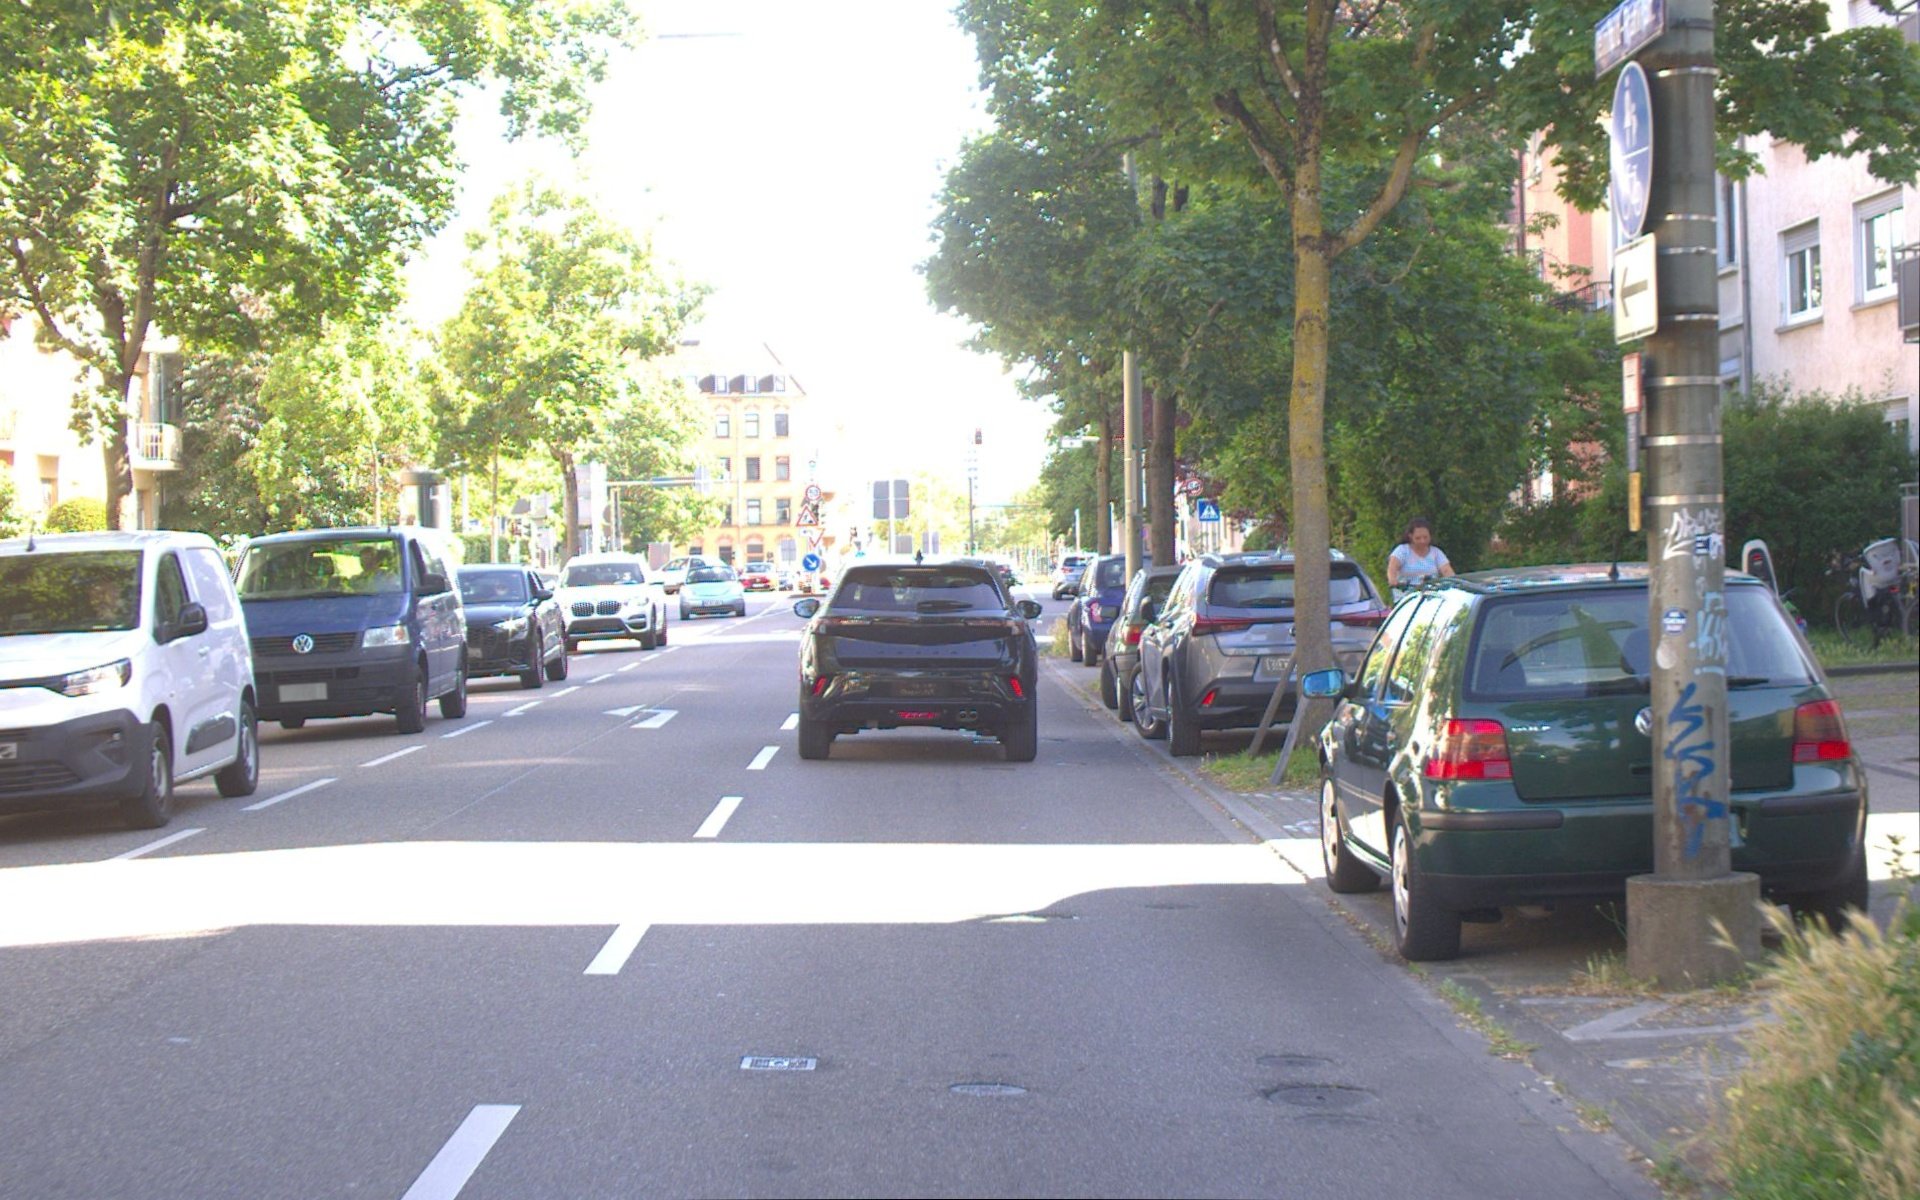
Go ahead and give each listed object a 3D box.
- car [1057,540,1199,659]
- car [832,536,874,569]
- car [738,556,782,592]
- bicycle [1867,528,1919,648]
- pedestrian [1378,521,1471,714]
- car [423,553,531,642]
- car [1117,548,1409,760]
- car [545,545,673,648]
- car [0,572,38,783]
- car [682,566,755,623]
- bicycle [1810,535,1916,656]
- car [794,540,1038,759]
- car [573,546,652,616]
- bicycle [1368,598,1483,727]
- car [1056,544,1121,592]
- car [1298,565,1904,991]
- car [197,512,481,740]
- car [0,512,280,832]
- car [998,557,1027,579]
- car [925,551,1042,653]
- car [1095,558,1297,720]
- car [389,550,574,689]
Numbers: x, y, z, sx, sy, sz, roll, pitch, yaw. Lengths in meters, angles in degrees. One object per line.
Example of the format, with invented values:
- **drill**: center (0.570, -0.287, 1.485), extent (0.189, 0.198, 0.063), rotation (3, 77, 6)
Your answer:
- **car**: center (2.303, -0.036, 47.940), extent (1.559, 1.510, 3.655), rotation (-3, 1, -2)
- **car**: center (-4.862, -2.162, 156.744), extent (1.771, 1.447, 3.885), rotation (-1, 1, 0)
- **car**: center (-9.311, -1.241, 160.361), extent (1.791, 1.611, 4.000), rotation (-1, 1, 0)
- **bicycle**: center (10.744, -0.149, 38.586), extent (0.591, 1.283, 1.689), rotation (-4, 1, 0)
- **pedestrian**: center (4.141, 0.151, 30.668), extent (0.669, 1.676, 0.776), rotation (-2, 1, -1)
- **car**: center (-8.758, -0.061, 62.542), extent (1.675, 1.520, 3.659), rotation (1, 1, -4)
- **car**: center (2.283, 0.360, 26.905), extent (1.714, 1.484, 4.235), rotation (-2, 1, -2)
- **car**: center (-6.144, -0.096, 60.648), extent (1.806, 1.642, 4.673), rotation (-3, 1, -1)
- **car**: center (-8.100, 0.598, 25.003), extent (1.722, 1.591, 4.136), rotation (0, 1, -1)
- **car**: center (-6.489, -0.164, 92.525), extent (1.737, 1.377, 3.937), rotation (-3, 1, -1)
- **bicycle**: center (10.119, -0.062, 38.574), extent (0.623, 1.283, 1.842), rotation (-4, 1, 0)
- **car**: center (-0.341, 0.339, 26.542), extent (1.745, 1.568, 3.558), rotation (0, 1, -1)
- **car**: center (-9.371, -0.532, 92.993), extent (1.818, 1.827, 4.563), rotation (-1, 1, -2)
- **bicycle**: center (4.149, 0.540, 30.775), extent (0.682, 1.066, 2.127), rotation (-2, 1, -1)
- **car**: center (3.959, -1.005, 106.719), extent (1.830, 1.447, 3.988), rotation (-1, 1, 0)
- **car**: center (2.428, 0.597, 13.994), extent (1.692, 1.423, 4.147), rotation (-2, 1, 1)
- **car**: center (-5.814, 0.198, 32.739), extent (1.803, 1.904, 4.712), rotation (-4, 1, -1)
- **car**: center (-5.571, 0.403, 21.310), extent (1.815, 1.737, 4.493), rotation (-3, 1, -1)
- **car**: center (3.722, -2.238, 241.821), extent (1.993, 1.514, 4.000), rotation (1, 0, 1)
- **car**: center (0.372, 0.002, 56.541), extent (1.830, 1.573, 3.839), rotation (-1, 1, 0)
- **car**: center (2.180, 0.323, 32.610), extent (1.612, 1.379, 3.976), rotation (-2, 1, 0)
- **car**: center (-6.022, 0.205, 43.697), extent (1.719, 1.560, 4.343), rotation (-4, 1, -1)
